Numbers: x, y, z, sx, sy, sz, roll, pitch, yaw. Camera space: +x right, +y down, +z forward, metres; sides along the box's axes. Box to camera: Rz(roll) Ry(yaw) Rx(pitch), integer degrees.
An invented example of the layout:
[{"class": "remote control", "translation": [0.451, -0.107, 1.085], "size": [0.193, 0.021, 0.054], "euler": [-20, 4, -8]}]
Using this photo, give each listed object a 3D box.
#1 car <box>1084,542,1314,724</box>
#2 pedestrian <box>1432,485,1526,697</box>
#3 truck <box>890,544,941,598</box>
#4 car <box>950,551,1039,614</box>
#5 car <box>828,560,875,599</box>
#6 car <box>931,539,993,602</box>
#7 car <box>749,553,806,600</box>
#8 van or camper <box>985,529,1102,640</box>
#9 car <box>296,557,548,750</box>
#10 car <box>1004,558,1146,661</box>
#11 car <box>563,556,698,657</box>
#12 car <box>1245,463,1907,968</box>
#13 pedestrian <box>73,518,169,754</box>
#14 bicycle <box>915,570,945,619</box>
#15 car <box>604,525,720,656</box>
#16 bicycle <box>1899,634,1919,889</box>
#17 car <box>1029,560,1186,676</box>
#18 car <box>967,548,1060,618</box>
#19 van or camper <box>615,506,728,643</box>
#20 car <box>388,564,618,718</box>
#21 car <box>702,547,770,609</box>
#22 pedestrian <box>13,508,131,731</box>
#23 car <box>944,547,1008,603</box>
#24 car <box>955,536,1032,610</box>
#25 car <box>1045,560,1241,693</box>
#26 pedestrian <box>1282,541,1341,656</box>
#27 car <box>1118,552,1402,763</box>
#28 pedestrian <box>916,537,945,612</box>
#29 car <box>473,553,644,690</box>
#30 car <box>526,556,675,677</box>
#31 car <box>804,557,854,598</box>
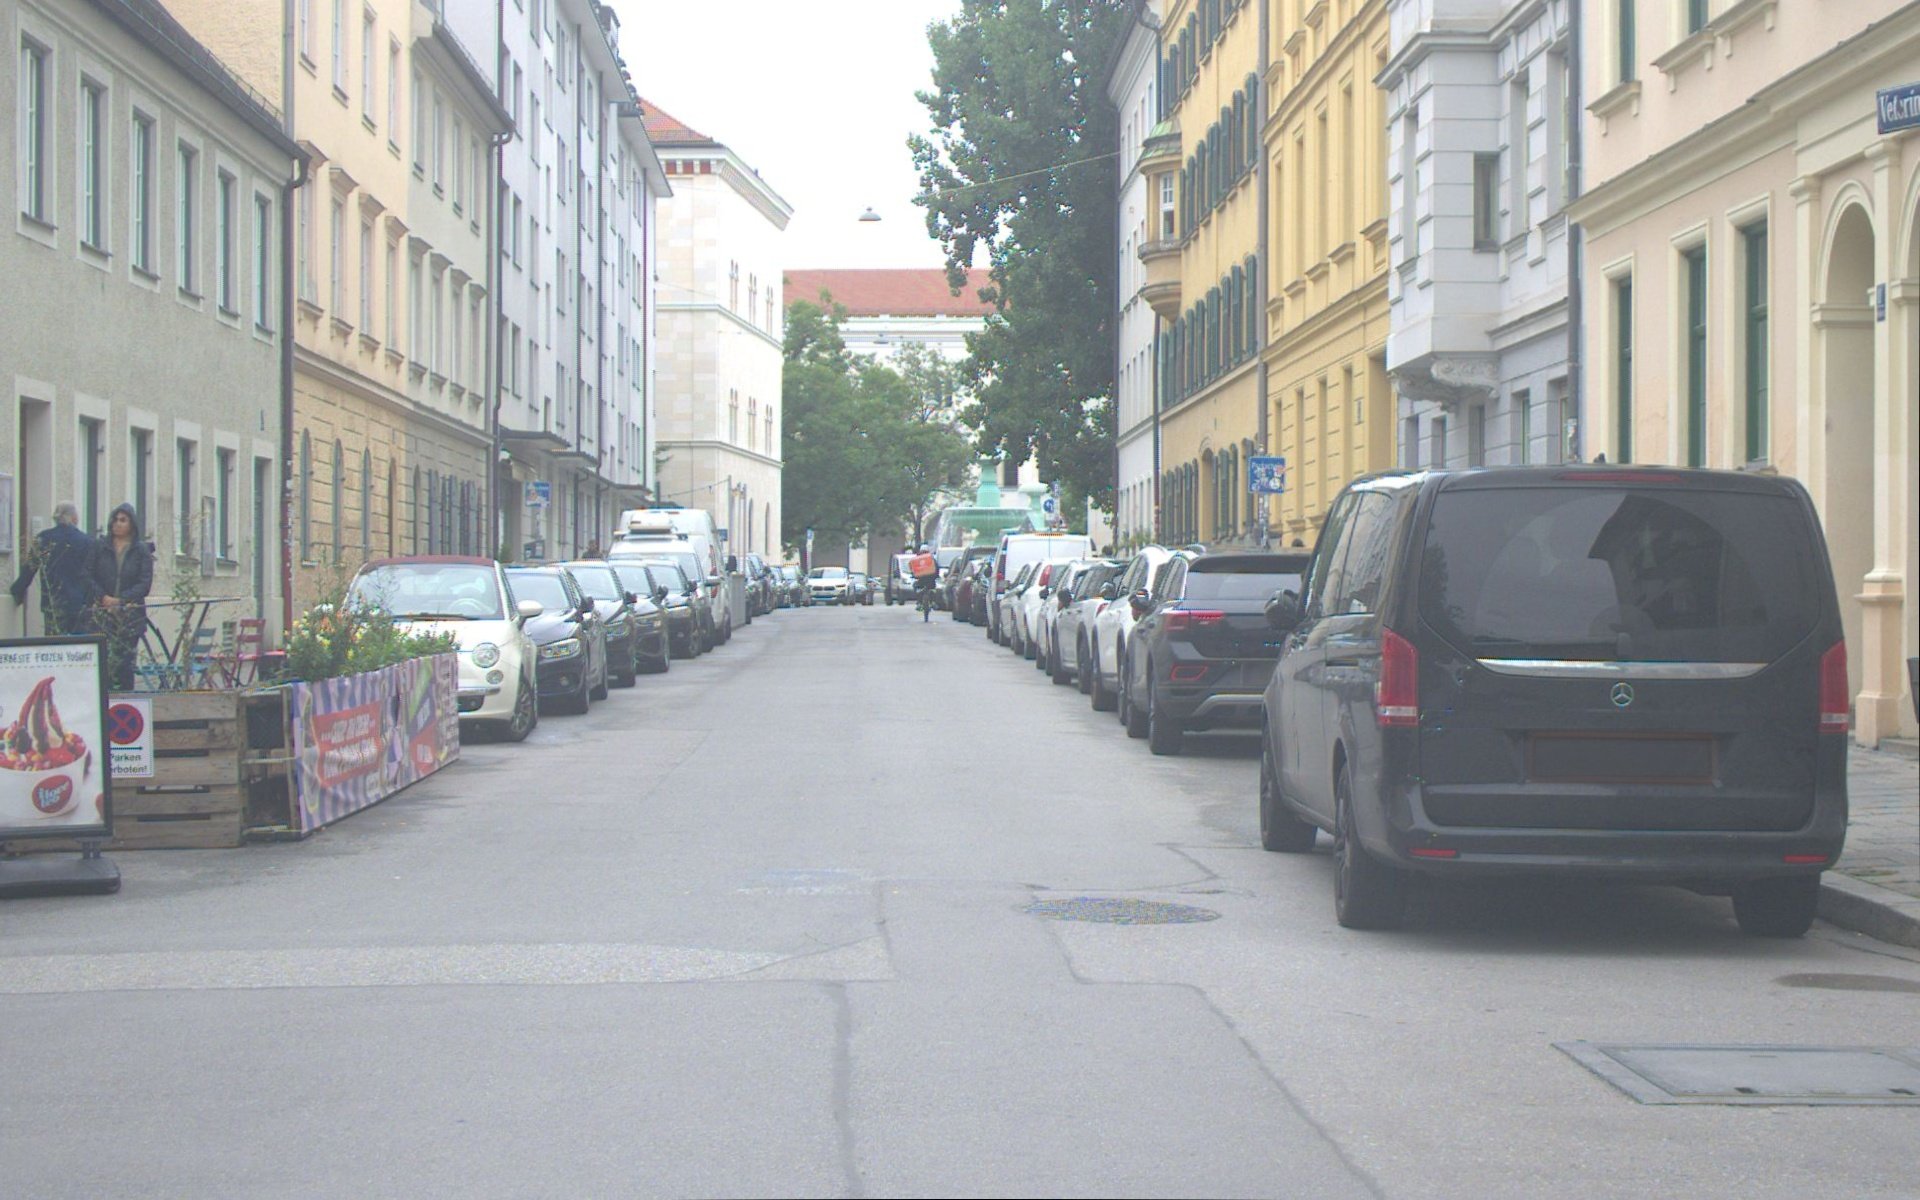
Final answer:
[{"class": "car", "translation": [2.159, 0.266, 32.126], "size": [1.743, 1.578, 4.467], "euler": [0, 1, -1]}, {"class": "pedestrian", "translation": [4.959, -0.081, 32.884], "size": [0.669, 1.974, 0.708], "euler": [-3, -1, -1]}, {"class": "truck", "translation": [-1.934, -1.251, 149.225], "size": [2.121, 2.240, 6.185], "euler": [-1, 0, -1]}, {"class": "car", "translation": [0.776, -0.412, 80.265], "size": [1.811, 1.420, 4.247], "euler": [1, 0, -3]}, {"class": "car", "translation": [-4.481, -0.854, 142.514], "size": [1.706, 1.576, 3.863], "euler": [-1, 1, 1]}, {"class": "car", "translation": [0.049, -0.907, 107.048], "size": [1.851, 1.913, 4.769], "euler": [0, 0, -1]}, {"class": "car", "translation": [-6.447, -0.825, 121.704], "size": [1.706, 1.604, 3.863], "euler": [-1, 1, 1]}, {"class": "van or camper", "translation": [1.419, -0.287, 60.461], "size": [1.833, 1.865, 5.079], "euler": [0, 1, -1]}, {"class": "car", "translation": [-4.388, 0.394, 28.484], "size": [1.754, 1.470, 3.714], "euler": [1, 1, -4]}, {"class": "car", "translation": [1.654, 0.118, 50.663], "size": [1.708, 1.449, 4.097], "euler": [0, 1, -3]}, {"class": "car", "translation": [-4.725, 0.074, 49.732], "size": [1.754, 1.404, 4.104], "euler": [0, 1, -3]}, {"class": "car", "translation": [2.498, 0.386, 15.362], "size": [1.997, 1.858, 5.253], "euler": [0, 1, 0]}, {"class": "pedestrian", "translation": [-6.440, 0.277, 26.414], "size": [0.528, 1.776, 0.877], "euler": [0, -1, -1]}, {"class": "bicycle", "translation": [-0.679, -0.127, 78.480], "size": [0.675, 1.091, 1.760], "euler": [0, -1, -1]}, {"class": "car", "translation": [-4.752, -0.171, 54.667], "size": [1.754, 1.988, 4.626], "euler": [0, 1, -5]}, {"class": "bicycle", "translation": [4.231, 0.710, 13.698], "size": [0.465, 1.049, 1.729], "euler": [-2, 3, -1]}, {"class": "car", "translation": [1.833, 0.198, 43.976], "size": [1.708, 1.404, 4.815], "euler": [0, 1, -1]}, {"class": "car", "translation": [1.141, -0.380, 74.988], "size": [1.811, 1.460, 4.247], "euler": [1, 0, -2]}, {"class": "van or camper", "translation": [-4.998, -0.450, 60.085], "size": [1.754, 2.273, 5.274], "euler": [0, 1, -2]}, {"class": "car", "translation": [-4.378, 0.348, 33.529], "size": [1.798, 1.335, 4.686], "euler": [0, 1, -2]}, {"class": "car", "translation": [-6.120, -0.608, 94.228], "size": [1.706, 1.604, 3.863], "euler": [-1, 1, -2]}, {"class": "pedestrian", "translation": [-7.632, 0.168, 29.574], "size": [0.822, 1.891, 0.827], "euler": [0, -1, -2]}, {"class": "car", "translation": [0.457, -0.730, 101.369], "size": [1.811, 1.609, 4.156], "euler": [0, 0, -1]}, {"class": "car", "translation": [0.826, -0.689, 87.267], "size": [1.811, 1.791, 4.247], "euler": [1, 0, -1]}, {"class": "car", "translation": [1.994, 0.262, 38.485], "size": [1.708, 1.400, 4.208], "euler": [0, 1, -4]}, {"class": "pedestrian", "translation": [4.908, -0.017, 48.019], "size": [0.660, 1.566, 0.642], "euler": [-3, -1, -2]}, {"class": "car", "translation": [2.244, 0.391, 26.759], "size": [1.754, 1.516, 4.275], "euler": [0, 1, -1]}, {"class": "pedestrian", "translation": [-0.676, -0.573, 78.520], "size": [0.642, 1.708, 0.843], "euler": [0, -1, -1]}, {"class": "car", "translation": [-4.566, 0.211, 39.530], "size": [1.754, 1.491, 4.201], "euler": [0, 1, -4]}, {"class": "car", "translation": [-4.655, 0.175, 44.822], "size": [1.816, 1.436, 4.132], "euler": [-1, 1, -5]}, {"class": "car", "translation": [-5.181, -0.896, 136.366], "size": [1.706, 1.576, 3.863], "euler": [-1, 1, 1]}]
